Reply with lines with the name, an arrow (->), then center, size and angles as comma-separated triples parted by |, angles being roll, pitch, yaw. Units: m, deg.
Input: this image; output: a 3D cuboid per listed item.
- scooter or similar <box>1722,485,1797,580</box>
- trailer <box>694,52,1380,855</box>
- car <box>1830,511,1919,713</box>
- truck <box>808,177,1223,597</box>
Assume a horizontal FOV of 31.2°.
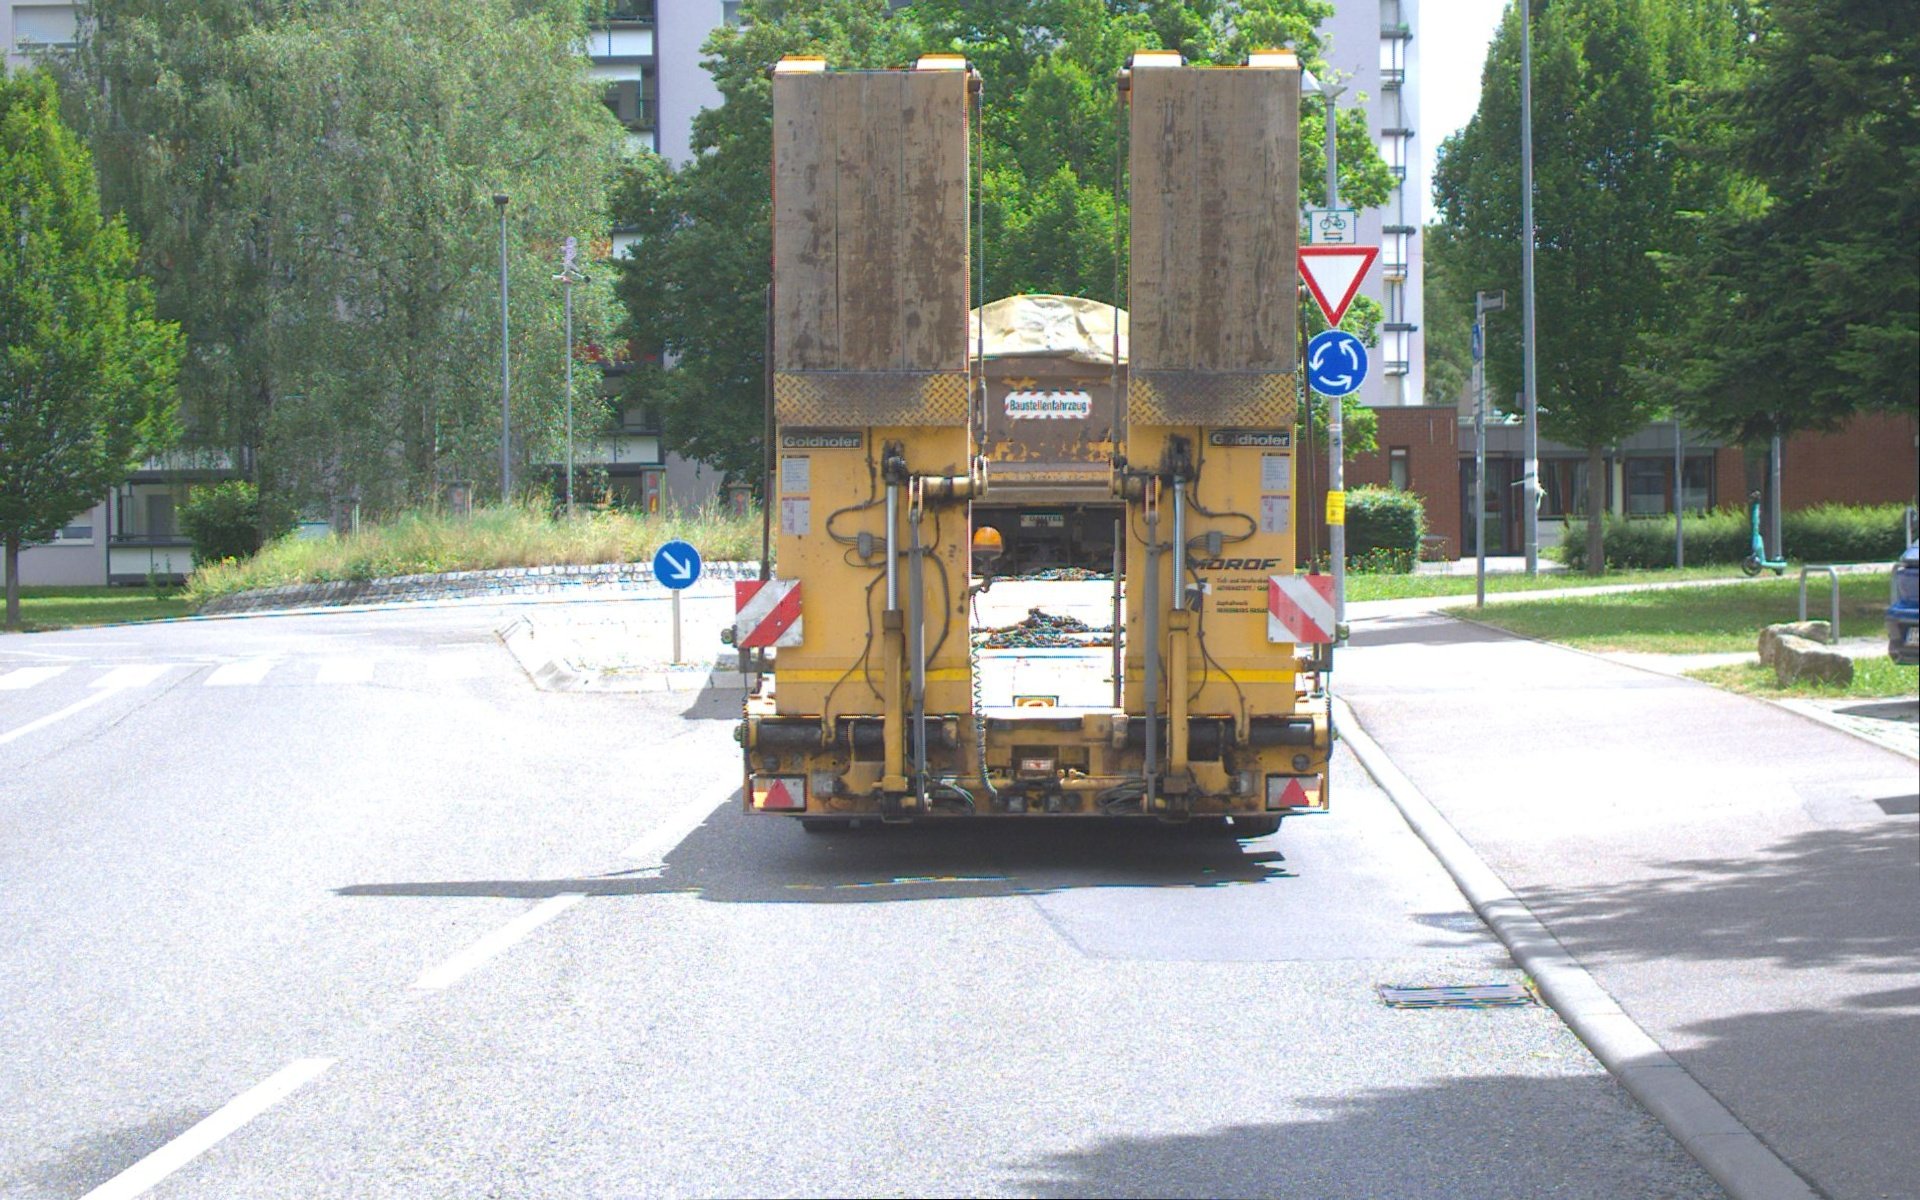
scooter or similar -> 11.660, -0.990, 50.143 | 0.485, 1.338, 1.385 | -1, 2, 38
trailer -> 0.372, -0.807, 19.830 | 2.864, 3.360, 10.842 | 0, 2, 1
car -> 8.192, -0.059, 22.270 | 4.481, 1.239, 2.001 | -4, 2, -12
truck -> 0.215, -1.753, 29.362 | 2.987, 3.024, 8.488 | 1, 3, -3
